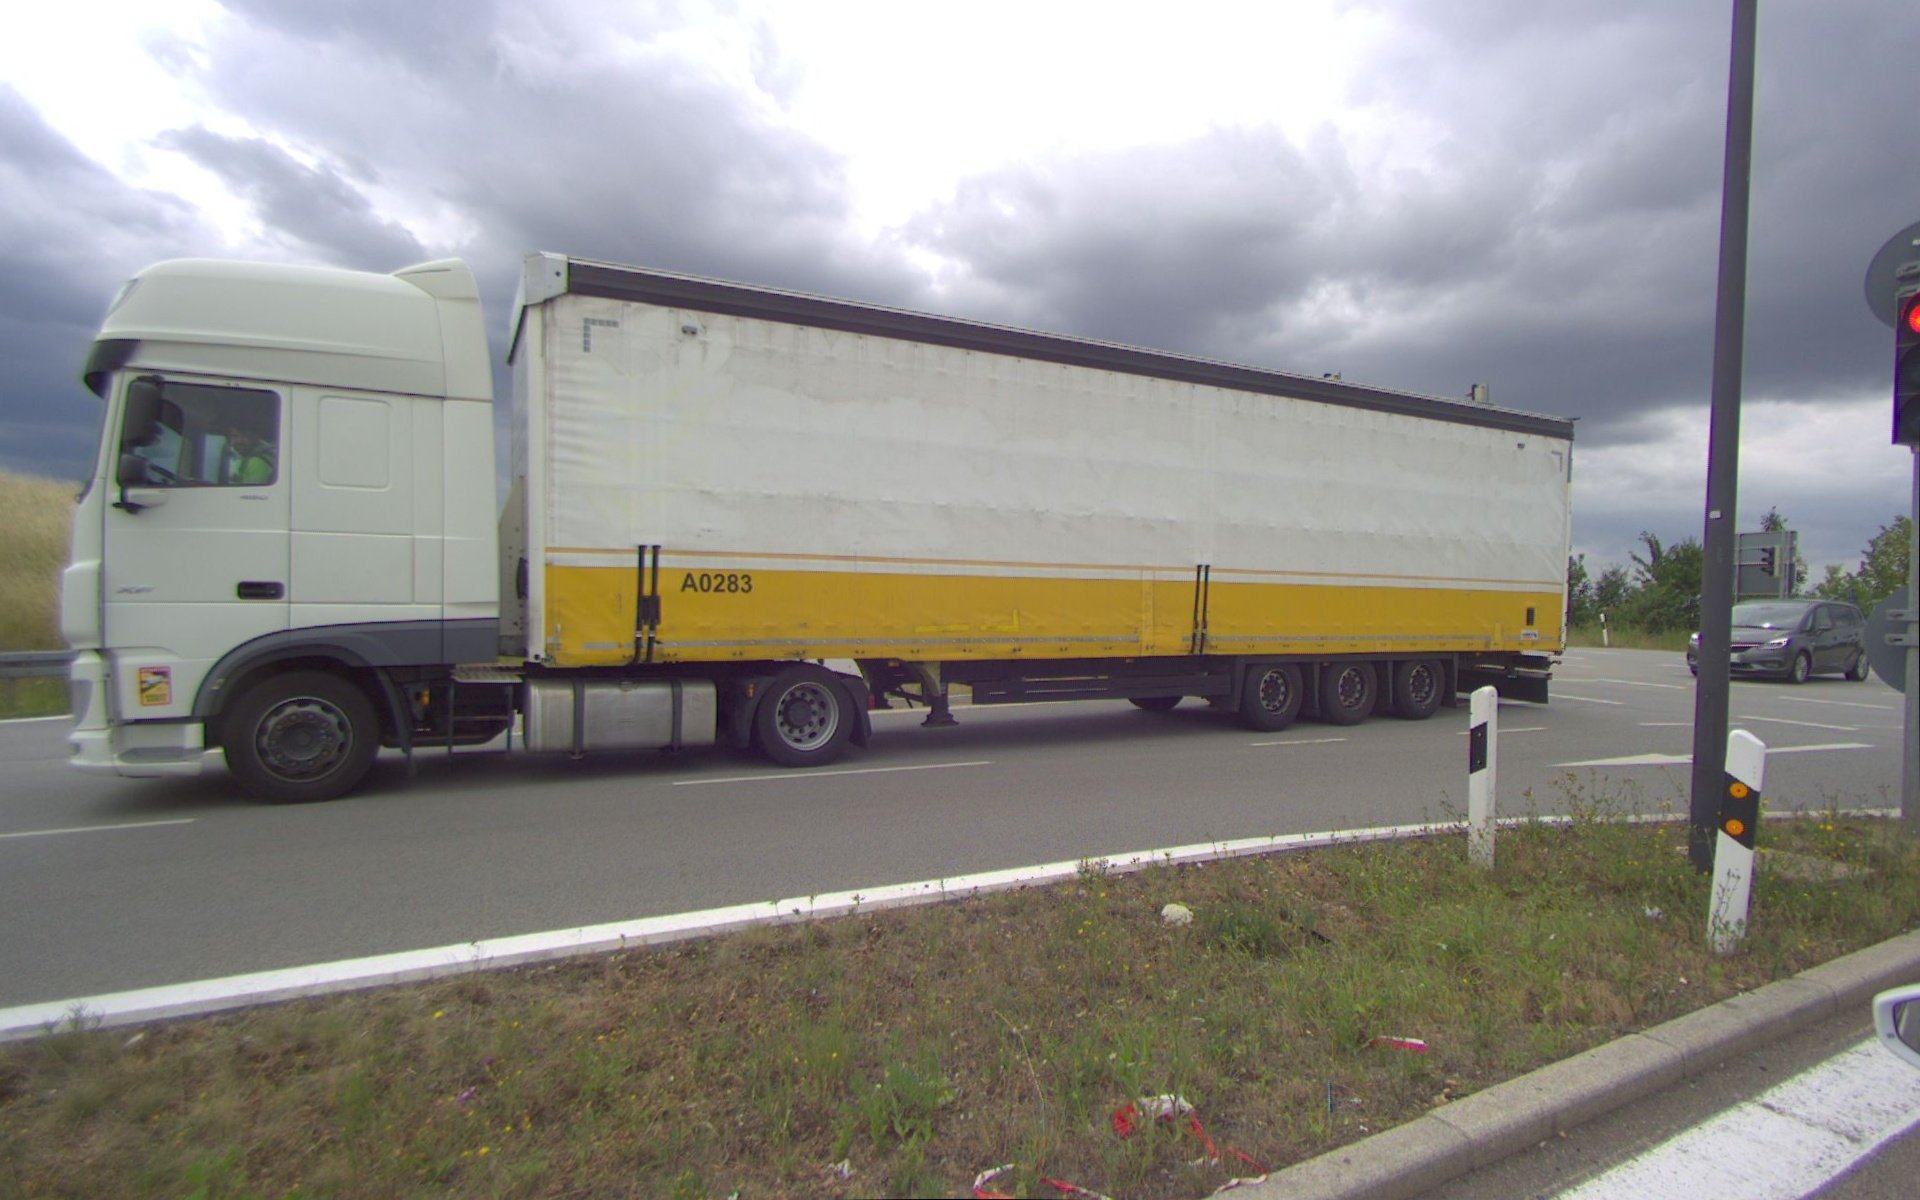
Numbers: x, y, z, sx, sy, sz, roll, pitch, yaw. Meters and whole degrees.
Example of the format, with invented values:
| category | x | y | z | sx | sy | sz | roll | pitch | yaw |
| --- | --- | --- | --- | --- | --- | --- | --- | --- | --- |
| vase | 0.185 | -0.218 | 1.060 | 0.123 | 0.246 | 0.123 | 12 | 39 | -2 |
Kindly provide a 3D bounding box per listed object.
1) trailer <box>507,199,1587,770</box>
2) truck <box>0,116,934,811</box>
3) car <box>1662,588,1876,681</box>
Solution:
| category | x | y | z | sx | sy | sz | roll | pitch | yaw |
| --- | --- | --- | --- | --- | --- | --- | --- | --- | --- |
| trailer | 2.196 | -0.673 | 12.026 | 13.673 | 4.266 | 2.680 | 2 | 0 | -29 |
| truck | -3.675 | -0.738 | 8.758 | 6.325 | 4.196 | 2.638 | 2 | 0 | -29 |
| car | 16.619 | 0.694 | 20.605 | 4.403 | 1.716 | 1.984 | 2 | 0 | -30 |
